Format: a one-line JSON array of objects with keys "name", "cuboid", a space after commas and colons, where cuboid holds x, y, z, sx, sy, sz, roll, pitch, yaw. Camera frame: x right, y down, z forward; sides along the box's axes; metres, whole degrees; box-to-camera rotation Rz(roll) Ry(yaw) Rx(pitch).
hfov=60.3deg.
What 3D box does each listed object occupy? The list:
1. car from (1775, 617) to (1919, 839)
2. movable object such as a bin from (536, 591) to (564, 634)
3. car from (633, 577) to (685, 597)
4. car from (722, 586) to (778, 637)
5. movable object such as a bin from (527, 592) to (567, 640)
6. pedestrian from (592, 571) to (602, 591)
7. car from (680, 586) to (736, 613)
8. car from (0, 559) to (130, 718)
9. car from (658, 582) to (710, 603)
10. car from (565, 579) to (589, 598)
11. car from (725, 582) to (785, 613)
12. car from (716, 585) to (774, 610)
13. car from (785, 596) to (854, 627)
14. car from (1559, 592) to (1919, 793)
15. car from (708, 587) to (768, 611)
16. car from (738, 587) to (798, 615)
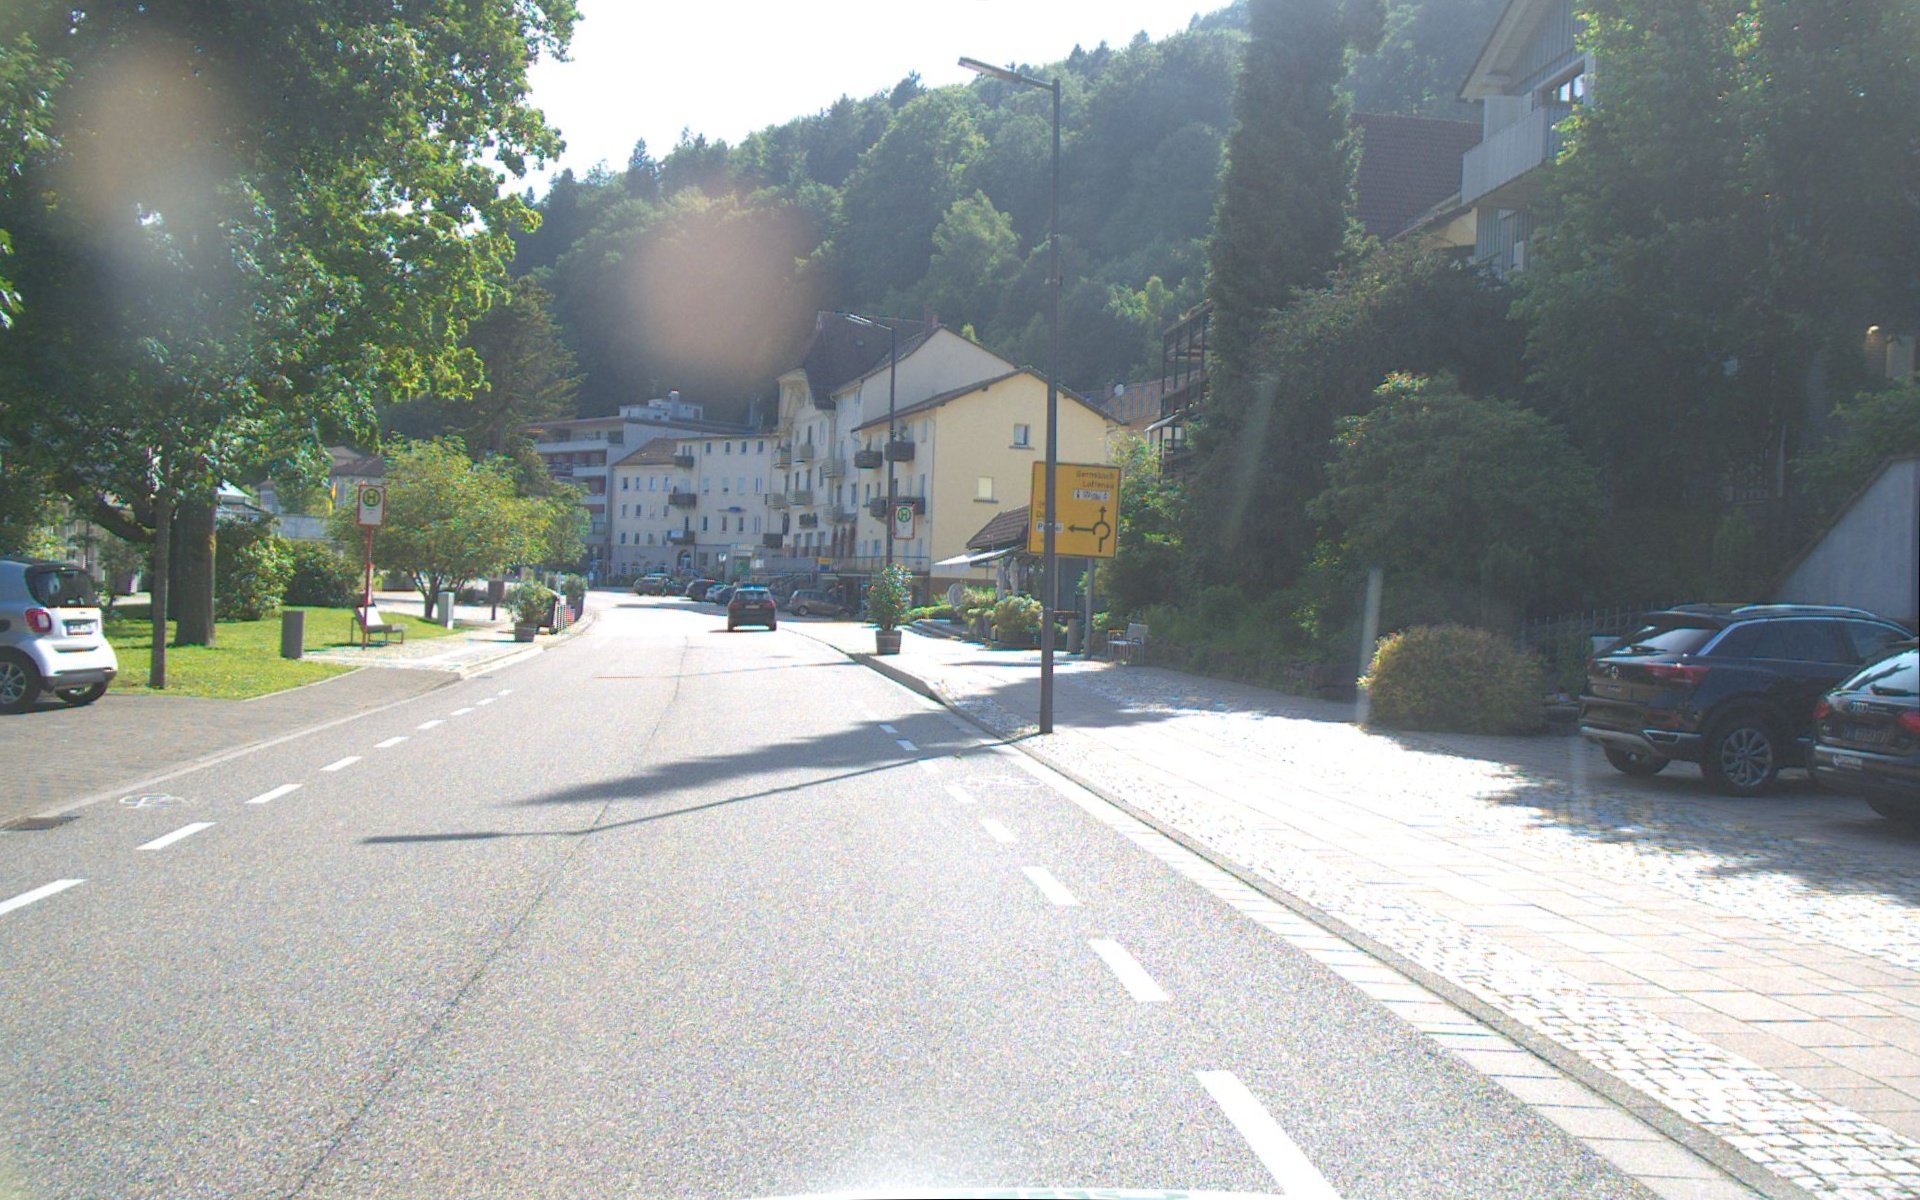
[{"name": "car", "cuboid": [8.257, 0.896, 11.851, 4.030, 1.440, 1.746, 1, 0, -6]}, {"name": "movable object such as a bin", "cuboid": [-13.714, 0.424, 55.317, 0.741, 1.365, 1.291, 4, 0, -11]}, {"name": "car", "cuboid": [-25.476, -1.103, 140.009, 3.942, 1.691, 1.982, 0, 1, -28]}, {"name": "car", "cuboid": [-7.720, 0.402, 60.560, 1.696, 1.601, 3.743, 3, 2, -11]}, {"name": "movable object such as a bin", "cuboid": [-13.330, 0.520, 53.414, 1.059, 1.452, 1.373, 4, 0, -11]}, {"name": "pedestrian", "cuboid": [-33.767, -1.751, 153.807, 0.664, 1.758, 0.697, 3, 0, -40]}, {"name": "car", "cuboid": [-19.844, -0.032, 130.283, 4.020, 1.694, 1.764, 5, -1, -18]}, {"name": "car", "cuboid": [-10.605, 0.336, 17.611, 2.598, 1.573, 1.682, 4, 0, -2]}, {"name": "car", "cuboid": [-23.052, -0.642, 138.005, 3.982, 1.542, 1.749, -1, 4, -38]}, {"name": "car", "cuboid": [-30.274, -0.895, 130.692, 1.710, 1.488, 4.175, 0, 1, -12]}, {"name": "car", "cuboid": [-14.551, -0.186, 117.406, 3.849, 1.835, 1.848, 5, -1, -18]}, {"name": "car", "cuboid": [-15.584, -0.190, 119.895, 3.848, 1.486, 1.728, 5, 0, -18]}, {"name": "car", "cuboid": [-8.665, 0.725, 101.805, 3.803, 1.581, 1.750, 5, -1, -20]}, {"name": "car", "cuboid": [7.501, 0.782, 14.556, 3.801, 1.607, 1.746, 1, 0, -6]}, {"name": "car", "cuboid": [-16.959, -0.072, 126.134, 4.285, 1.486, 1.765, 4, -1, -16]}, {"name": "car", "cuboid": [-13.342, 0.064, 114.886, 3.849, 1.616, 1.766, 5, 0, -18]}]
